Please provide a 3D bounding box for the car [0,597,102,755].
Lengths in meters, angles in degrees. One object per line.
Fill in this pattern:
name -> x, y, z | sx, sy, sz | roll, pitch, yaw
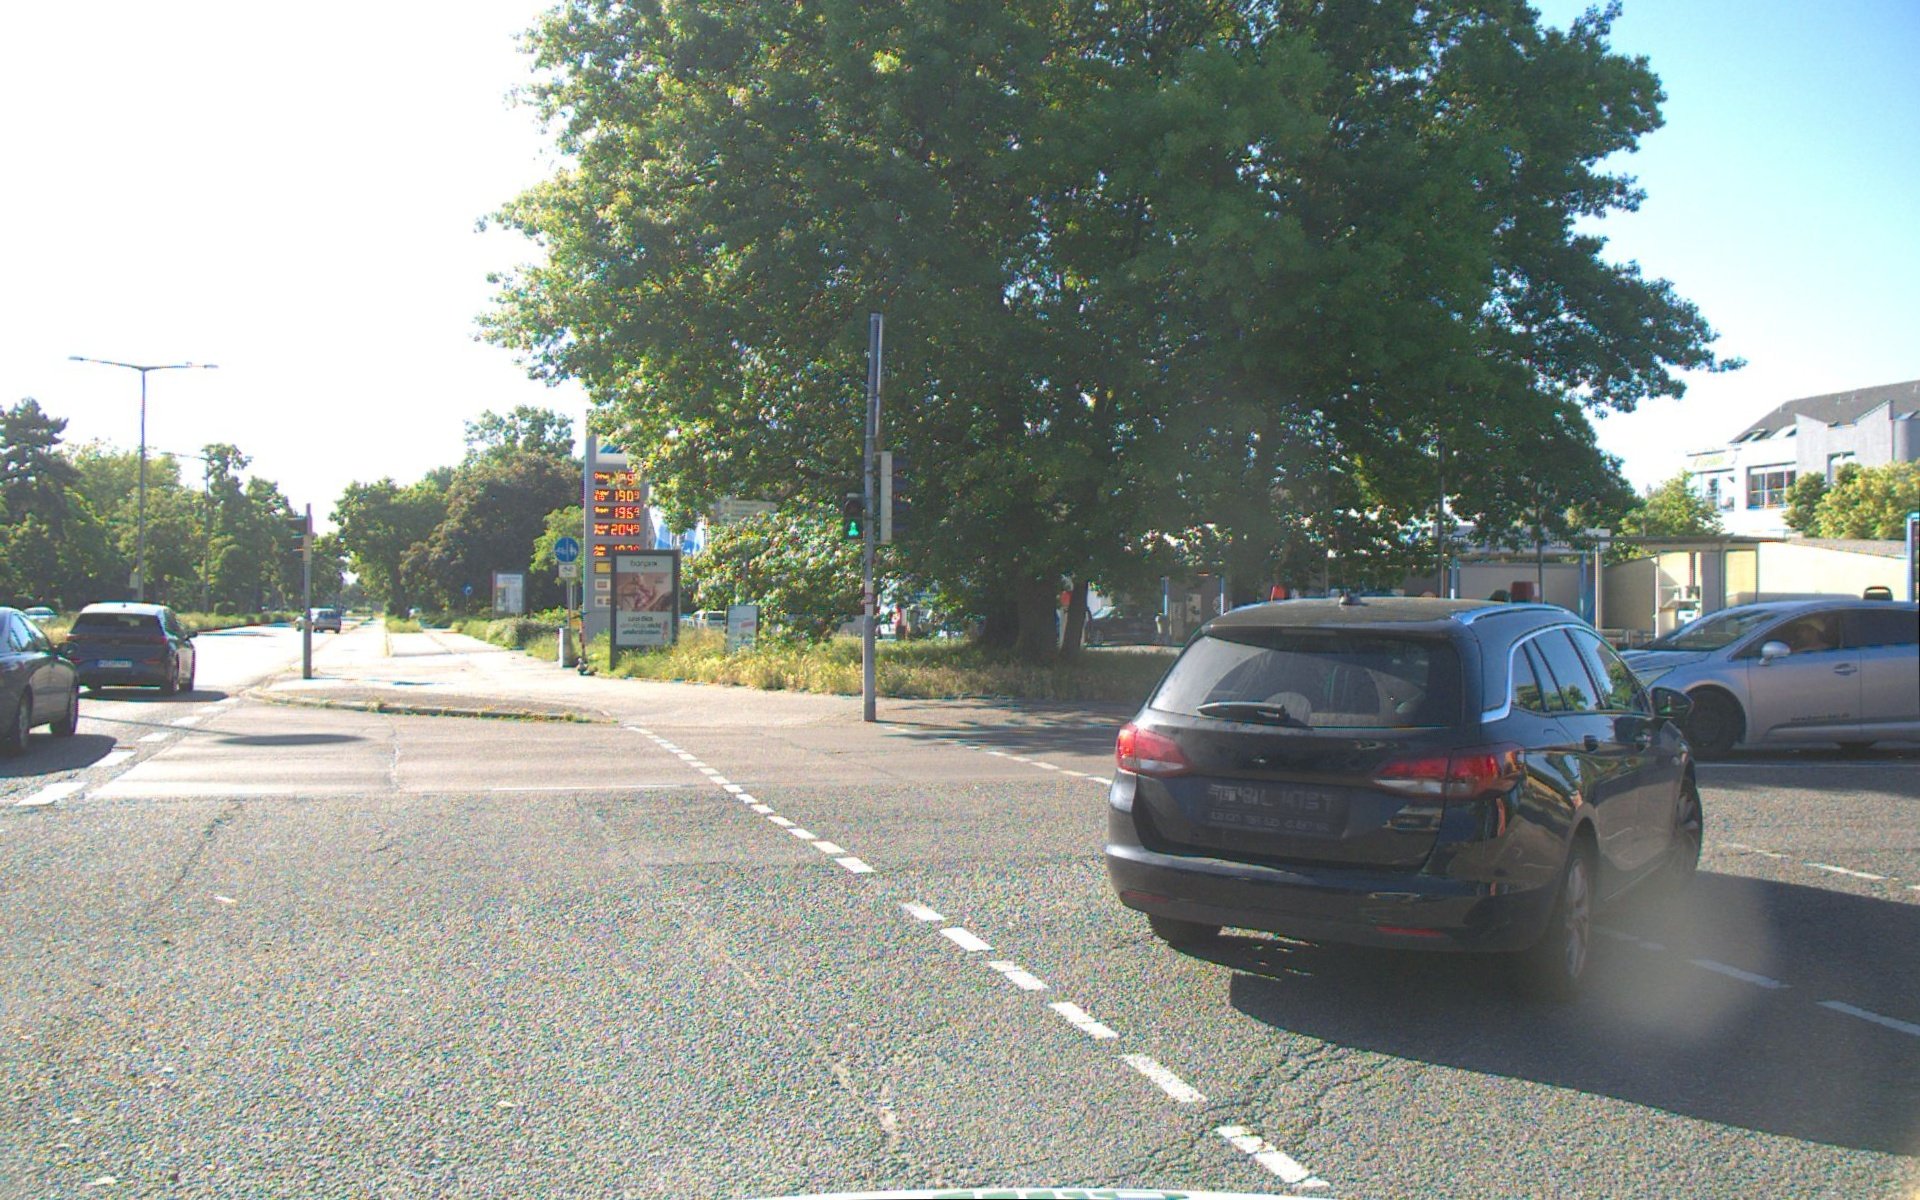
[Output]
car -> -10.017, 0.676, 16.674 | 1.810, 1.419, 4.338 | 3, -2, -20

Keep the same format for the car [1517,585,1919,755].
car -> 8.082, 0.652, 16.033 | 4.781, 1.515, 1.839 | 0, -1, -8

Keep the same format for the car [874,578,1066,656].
car -> 0.314, 0.554, 50.840 | 5.553, 2.136, 1.988 | 3, -2, -21

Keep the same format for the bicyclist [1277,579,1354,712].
bicyclist -> 4.539, 0.575, 21.135 | 0.813, 1.670, 0.541 | 0, -1, -14

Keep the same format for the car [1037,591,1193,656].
car -> 4.106, 0.634, 43.635 | 3.944, 1.538, 1.517 | 3, -2, -30

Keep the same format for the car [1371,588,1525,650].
car -> 14.294, 0.569, 48.487 | 3.929, 1.635, 1.988 | 3, -2, -21

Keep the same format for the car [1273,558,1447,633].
car -> 8.613, -0.074, 35.458 | 3.967, 1.400, 1.732 | 4, -2, -43

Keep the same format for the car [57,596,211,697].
car -> -14.311, 0.788, 28.869 | 1.809, 1.616, 4.340 | 2, -1, -19

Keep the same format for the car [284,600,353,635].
car -> -40.313, 1.110, 103.944 | 3.913, 2.049, 1.996 | 1, -2, 30

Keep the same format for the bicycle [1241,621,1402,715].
bicycle -> 4.621, 0.855, 21.142 | 1.985, 1.161, 0.527 | 0, -1, -14

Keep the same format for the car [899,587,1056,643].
car -> 0.496, 0.434, 45.376 | 3.946, 1.358, 1.780 | 3, -2, -31

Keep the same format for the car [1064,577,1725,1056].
car -> 2.261, 0.697, 7.582 | 1.730, 1.517, 4.280 | 1, 0, 32
